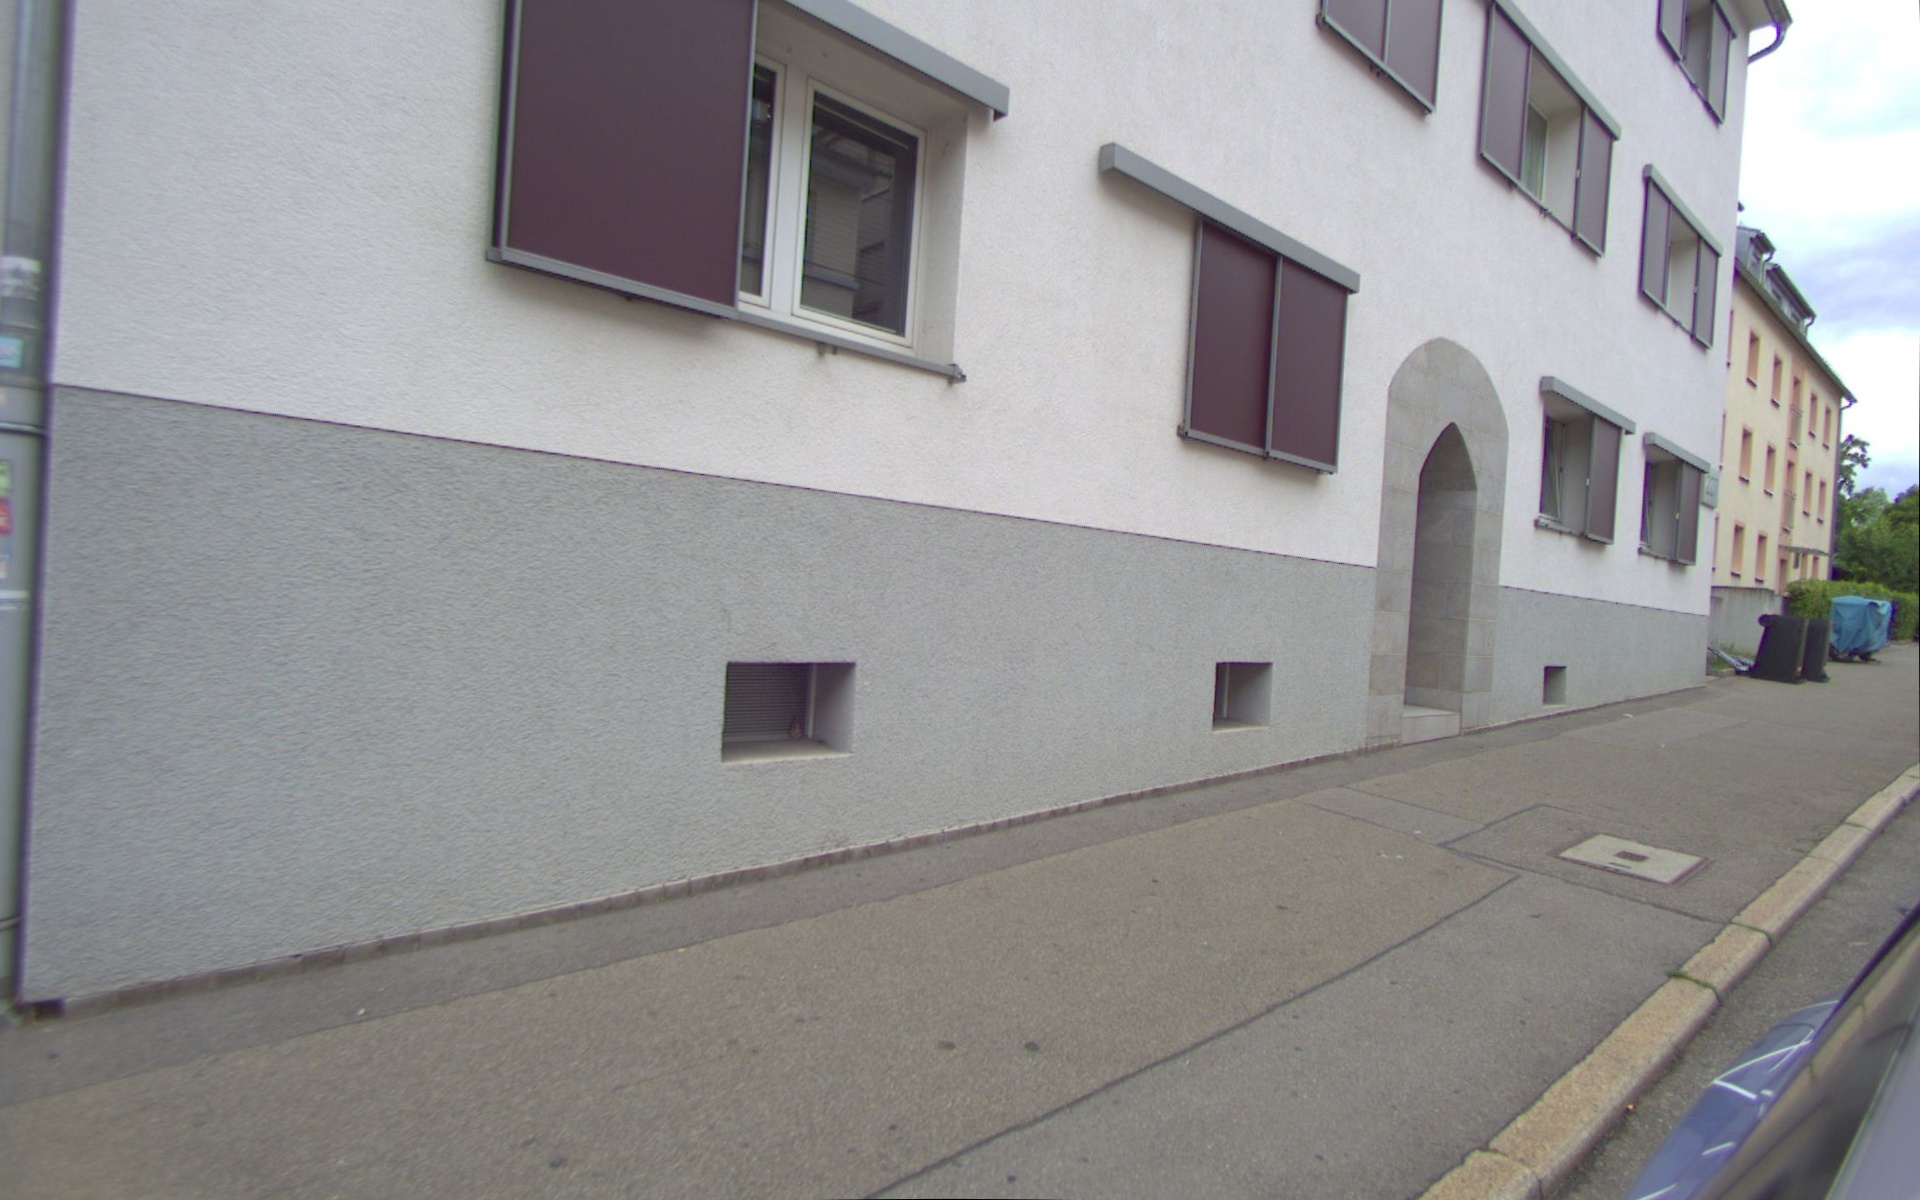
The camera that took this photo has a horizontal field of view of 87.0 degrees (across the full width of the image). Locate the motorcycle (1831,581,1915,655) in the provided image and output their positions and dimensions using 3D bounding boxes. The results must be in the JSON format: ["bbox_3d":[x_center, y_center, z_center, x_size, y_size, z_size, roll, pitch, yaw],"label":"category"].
[{"bbox_3d":[18.966,0.371,21.013,1.899,1.406,0.733,1,5,-34],"label":"motorcycle"}]

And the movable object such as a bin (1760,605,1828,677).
[{"bbox_3d":[13.022,0.627,15.799,0.592,1.021,0.638,1,4,-40],"label":"movable object such as a bin"}]

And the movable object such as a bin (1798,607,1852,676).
[{"bbox_3d":[13.882,0.656,16.244,0.563,1.021,0.491,7,4,41],"label":"movable object such as a bin"}]
